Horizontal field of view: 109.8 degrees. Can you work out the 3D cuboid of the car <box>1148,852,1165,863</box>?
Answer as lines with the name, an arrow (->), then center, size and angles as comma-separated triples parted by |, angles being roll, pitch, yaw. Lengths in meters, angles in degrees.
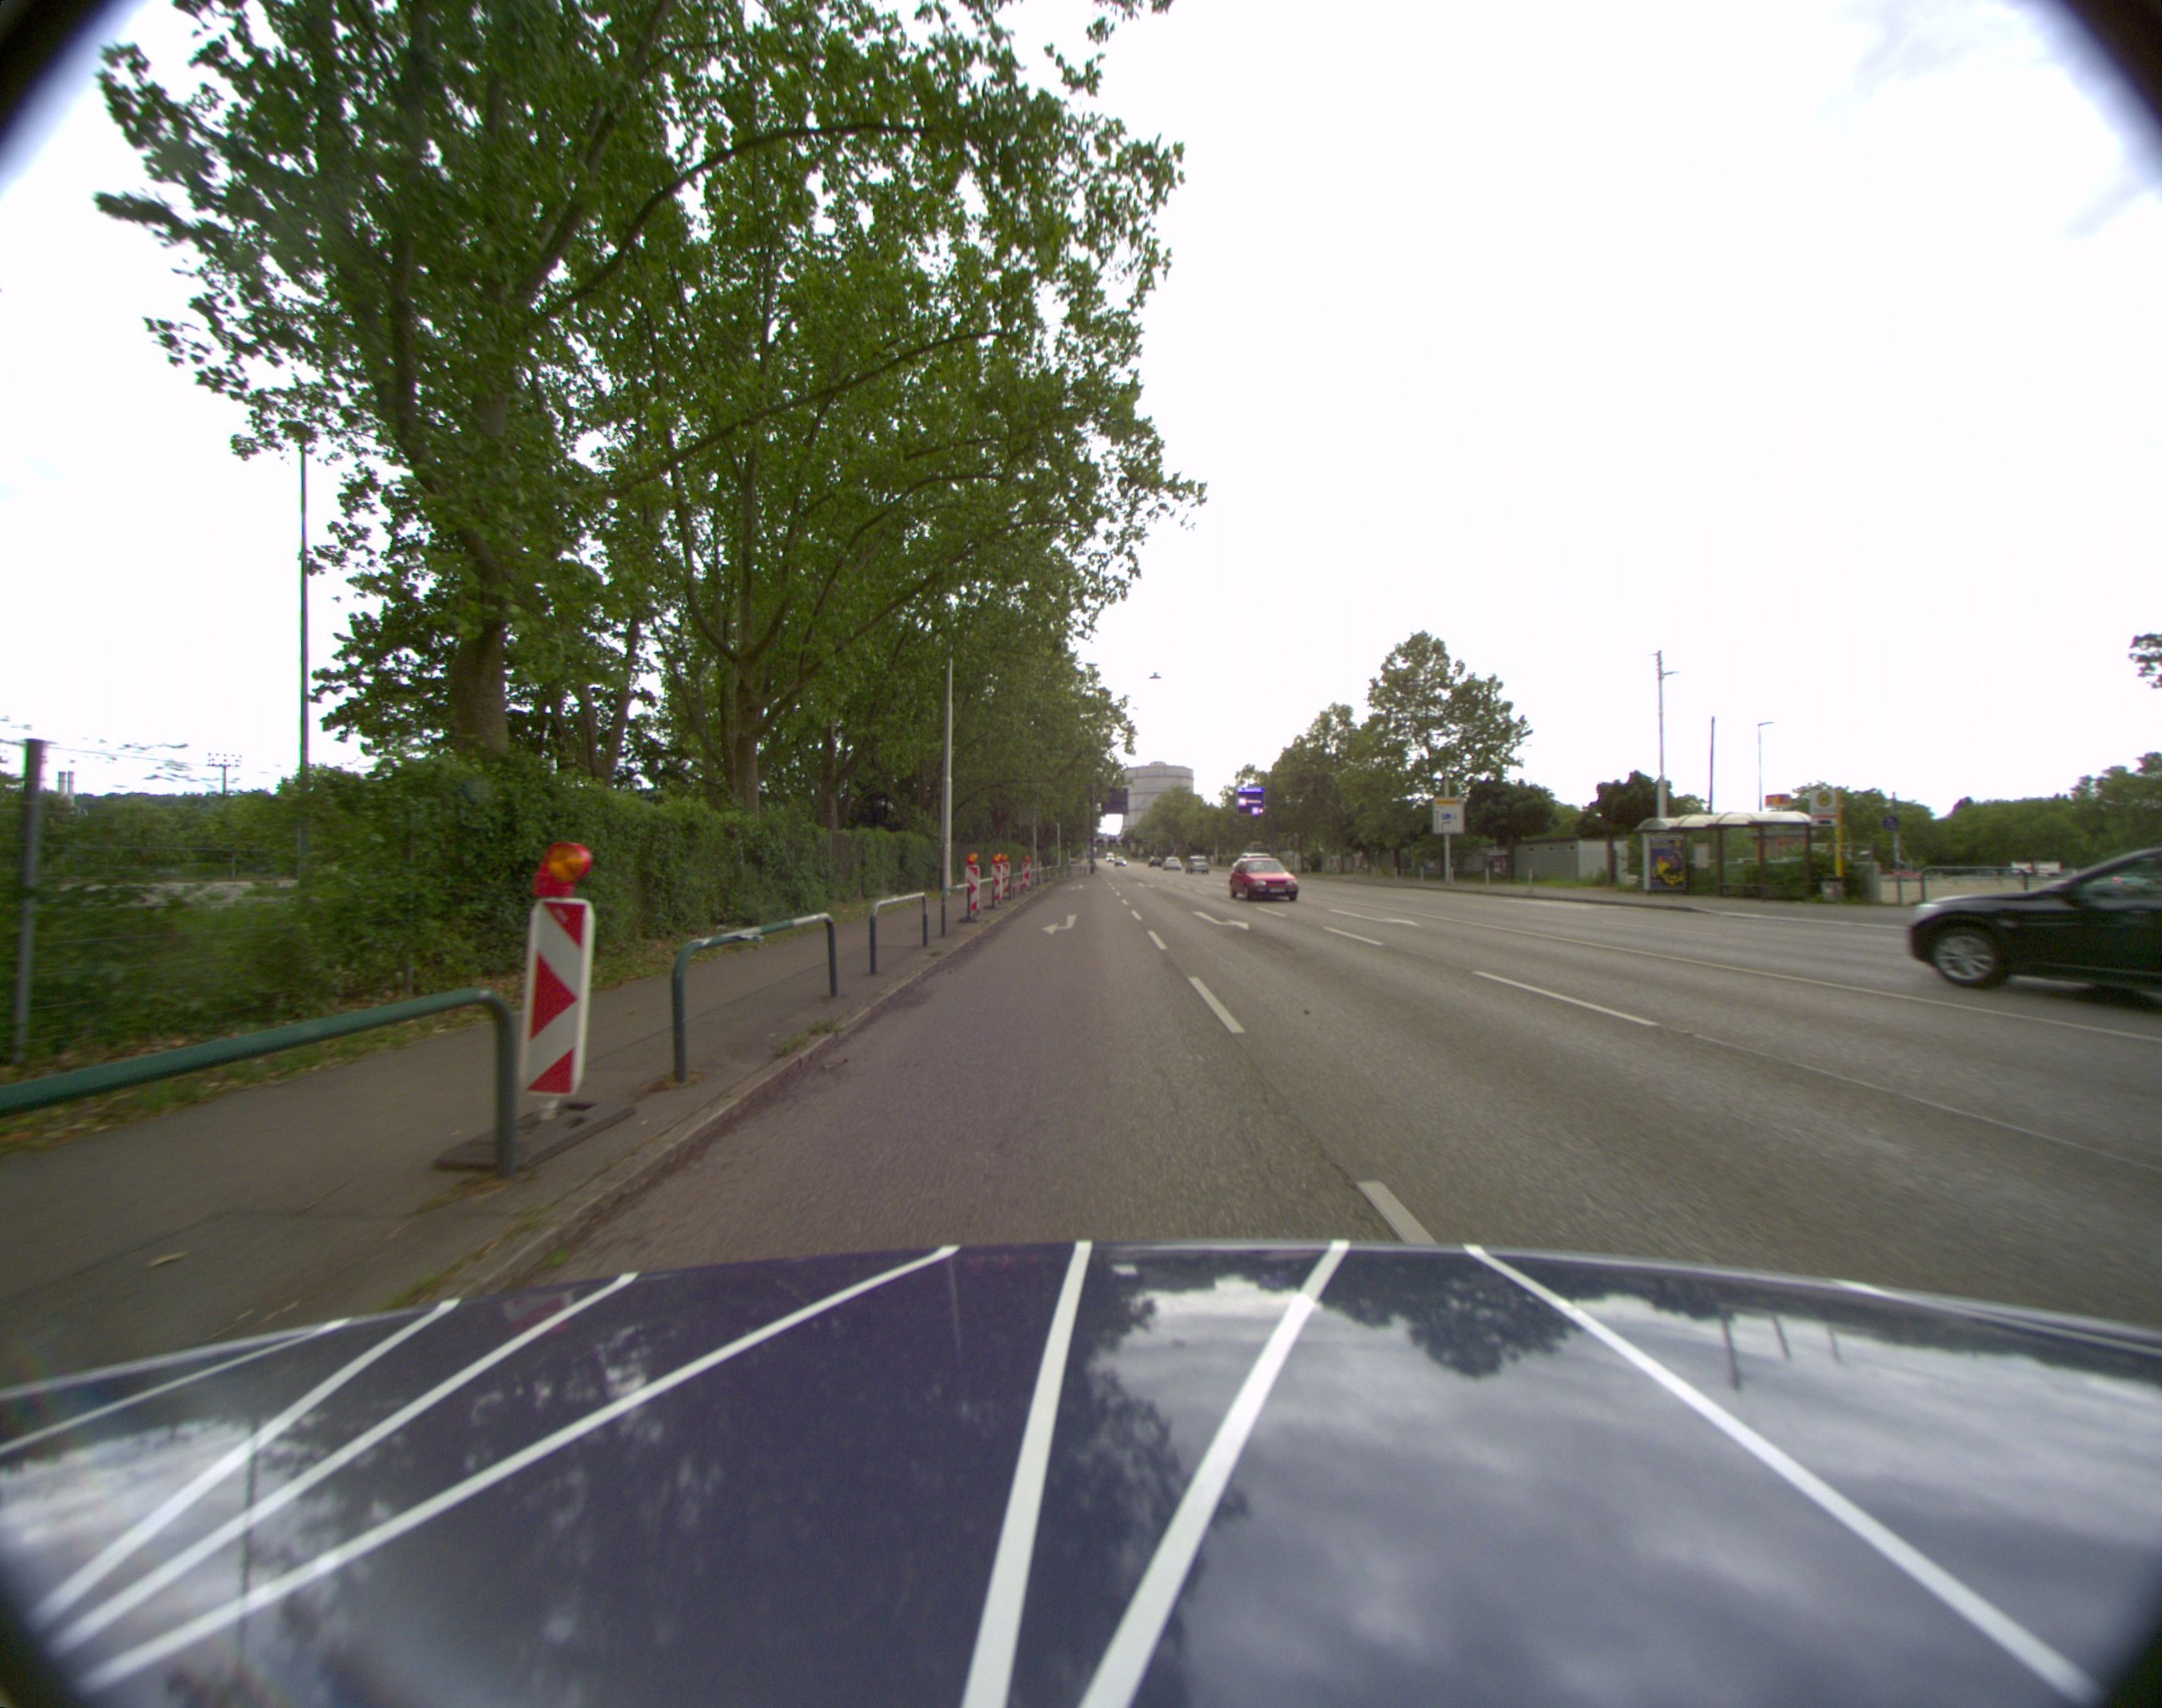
car -> 11.249, 0.548, 113.645 | 1.999, 1.521, 4.725 | 1, 0, -1

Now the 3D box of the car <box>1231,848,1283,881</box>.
car -> 10.287, 0.565, 44.850 | 1.998, 1.735, 4.594 | 1, 2, 0

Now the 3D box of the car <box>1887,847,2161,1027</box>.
car -> 10.463, 0.745, 6.774 | 1.774, 1.596, 4.427 | 1, 0, -1

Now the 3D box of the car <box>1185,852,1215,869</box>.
car -> 10.704, 0.571, 68.692 | 1.999, 1.516, 3.999 | 0, 0, -1

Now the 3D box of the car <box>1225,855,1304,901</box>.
car -> 6.238, 0.766, 26.221 | 1.833, 1.443, 4.077 | -1, 0, 2

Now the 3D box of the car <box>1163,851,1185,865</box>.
car -> 10.493, 0.464, 85.776 | 1.998, 1.521, 4.385 | 0, 0, 0

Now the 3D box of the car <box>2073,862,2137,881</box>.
car -> 100.262, 1.711, 74.432 | 3.986, 1.694, 1.999 | -2, 1, -7

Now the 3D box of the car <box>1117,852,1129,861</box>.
car -> 6.923, 0.408, 125.465 | 1.799, 1.501, 4.000 | 0, 0, 1
